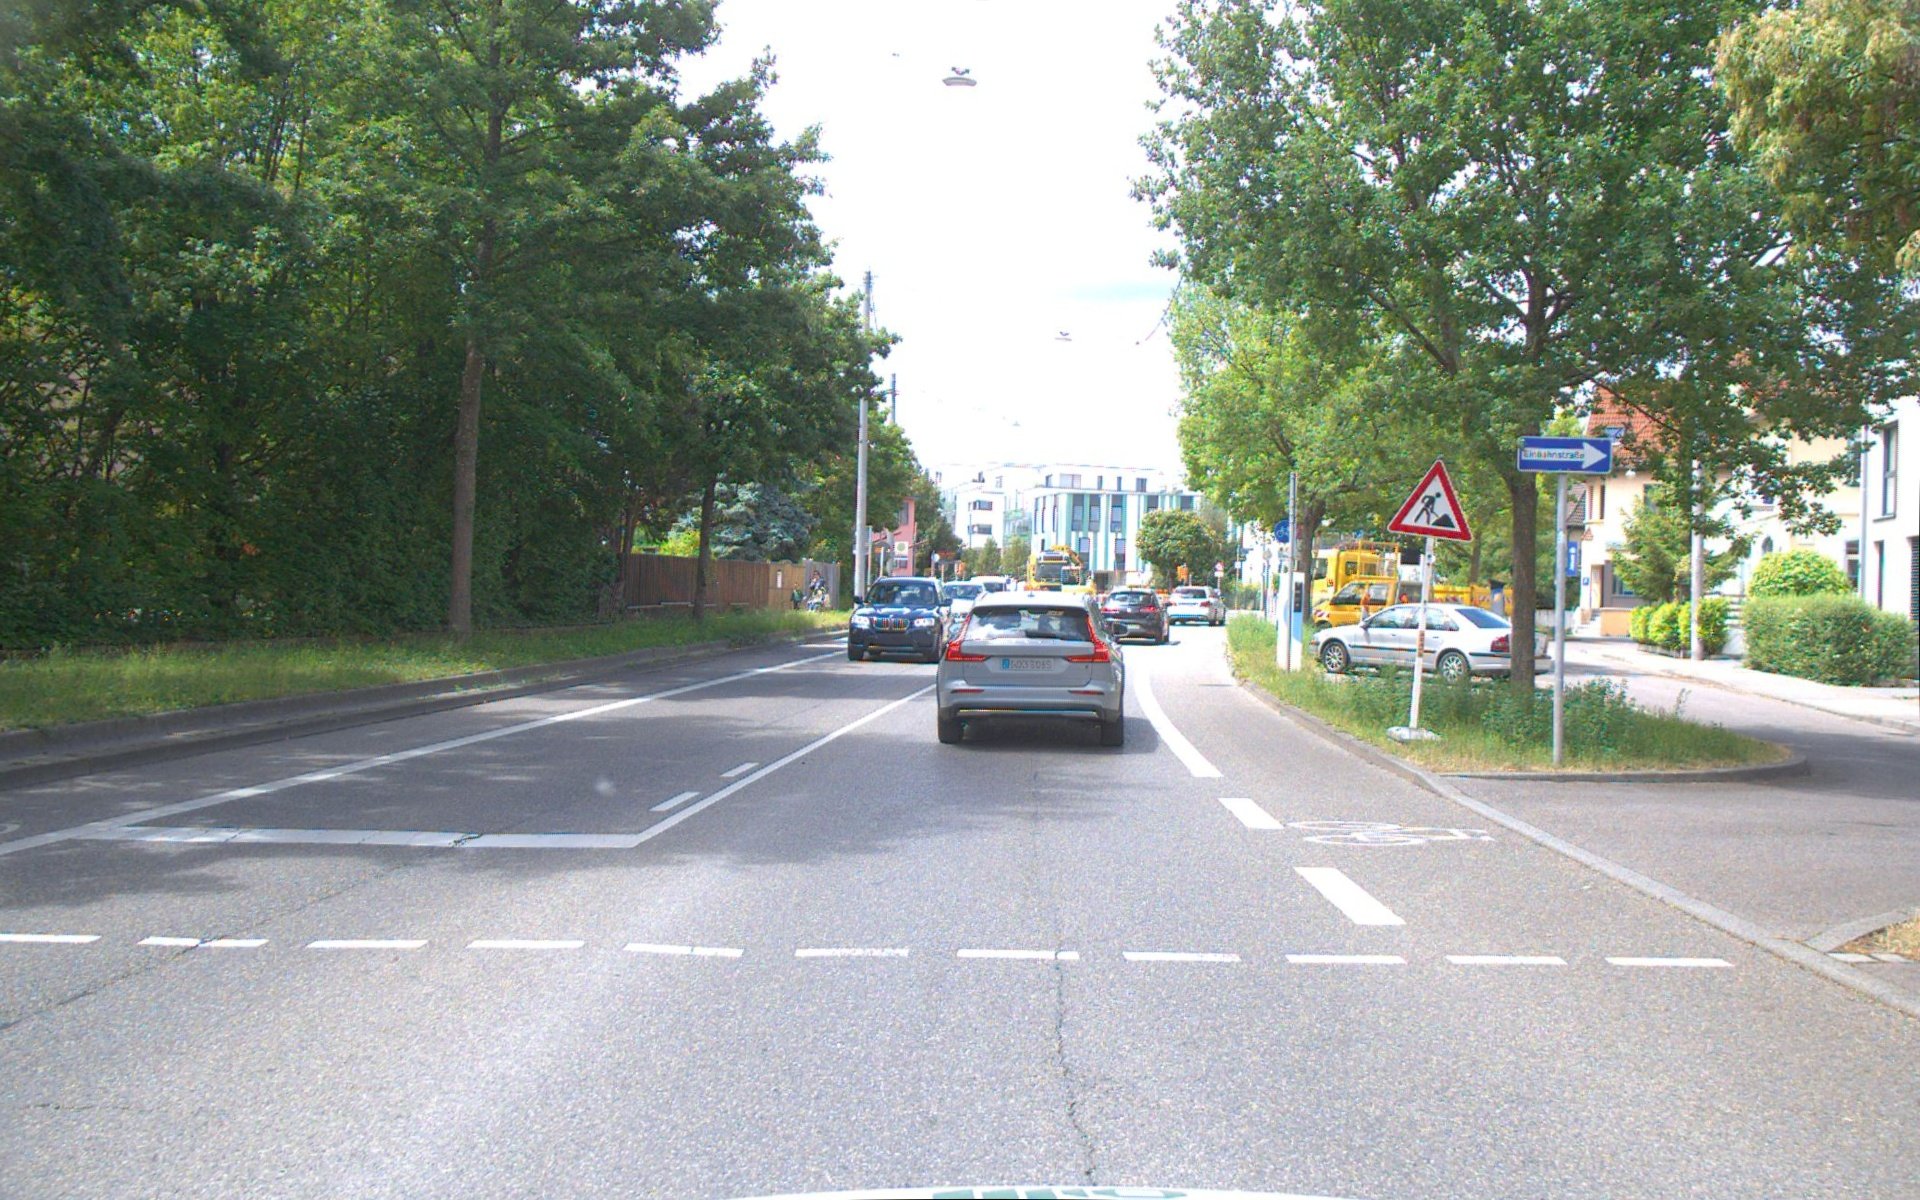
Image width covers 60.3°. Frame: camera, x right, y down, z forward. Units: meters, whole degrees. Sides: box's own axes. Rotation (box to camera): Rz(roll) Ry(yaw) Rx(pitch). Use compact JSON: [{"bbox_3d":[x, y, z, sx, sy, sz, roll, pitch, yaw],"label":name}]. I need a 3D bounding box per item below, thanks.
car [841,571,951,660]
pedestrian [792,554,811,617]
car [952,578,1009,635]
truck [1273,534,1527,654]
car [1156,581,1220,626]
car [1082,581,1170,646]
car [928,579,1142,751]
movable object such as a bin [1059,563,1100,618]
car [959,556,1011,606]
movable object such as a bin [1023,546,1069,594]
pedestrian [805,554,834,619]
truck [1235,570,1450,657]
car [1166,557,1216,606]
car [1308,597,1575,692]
[{"bbox_3d":[-1.237,0.289,33.957,1.840,1.717,4.249,0,0,3],"label":"car"},{"bbox_3d":[-5.211,-0.478,54.476,0.394,2.048,0.415,4,-1,7],"label":"pedestrian"},{"bbox_3d":[0.663,0.219,51.837,1.673,1.646,4.000,2,-1,1],"label":"car"},{"bbox_3d":[12.645,-0.243,47.987,2.745,3.060,6.609,5,-1,-40],"label":"truck"},{"bbox_3d":[8.766,0.173,63.866,2.058,1.536,4.002,4,-1,4],"label":"car"},{"bbox_3d":[4.385,0.351,44.158,1.629,1.534,3.699,5,-1,-4],"label":"car"},{"bbox_3d":[0.897,0.586,17.159,1.887,1.567,4.003,0,0,7],"label":"car"},{"bbox_3d":[6.234,-0.496,85.851,1.992,2.689,5.943,1,0,4],"label":"movable object such as a bin"},{"bbox_3d":[1.062,-0.808,72.397,1.812,1.907,4.591,6,-1,-2],"label":"car"},{"bbox_3d":[5.658,-1.962,109.363,2.264,3.042,6.422,1,0,-3],"label":"movable object such as a bin"},{"bbox_3d":[-4.578,-0.427,53.981,0.700,2.048,0.772,4,-1,3],"label":"pedestrian"},{"bbox_3d":[10.557,0.338,46.029,1.983,2.048,5.590,5,-1,-43],"label":"truck"},{"bbox_3d":[10.836,-0.845,77.464,1.951,2.048,4.003,4,-1,12],"label":"car"},{"bbox_3d":[8.917,0.794,30.985,1.750,1.477,4.626,2,1,-38],"label":"car"}]
